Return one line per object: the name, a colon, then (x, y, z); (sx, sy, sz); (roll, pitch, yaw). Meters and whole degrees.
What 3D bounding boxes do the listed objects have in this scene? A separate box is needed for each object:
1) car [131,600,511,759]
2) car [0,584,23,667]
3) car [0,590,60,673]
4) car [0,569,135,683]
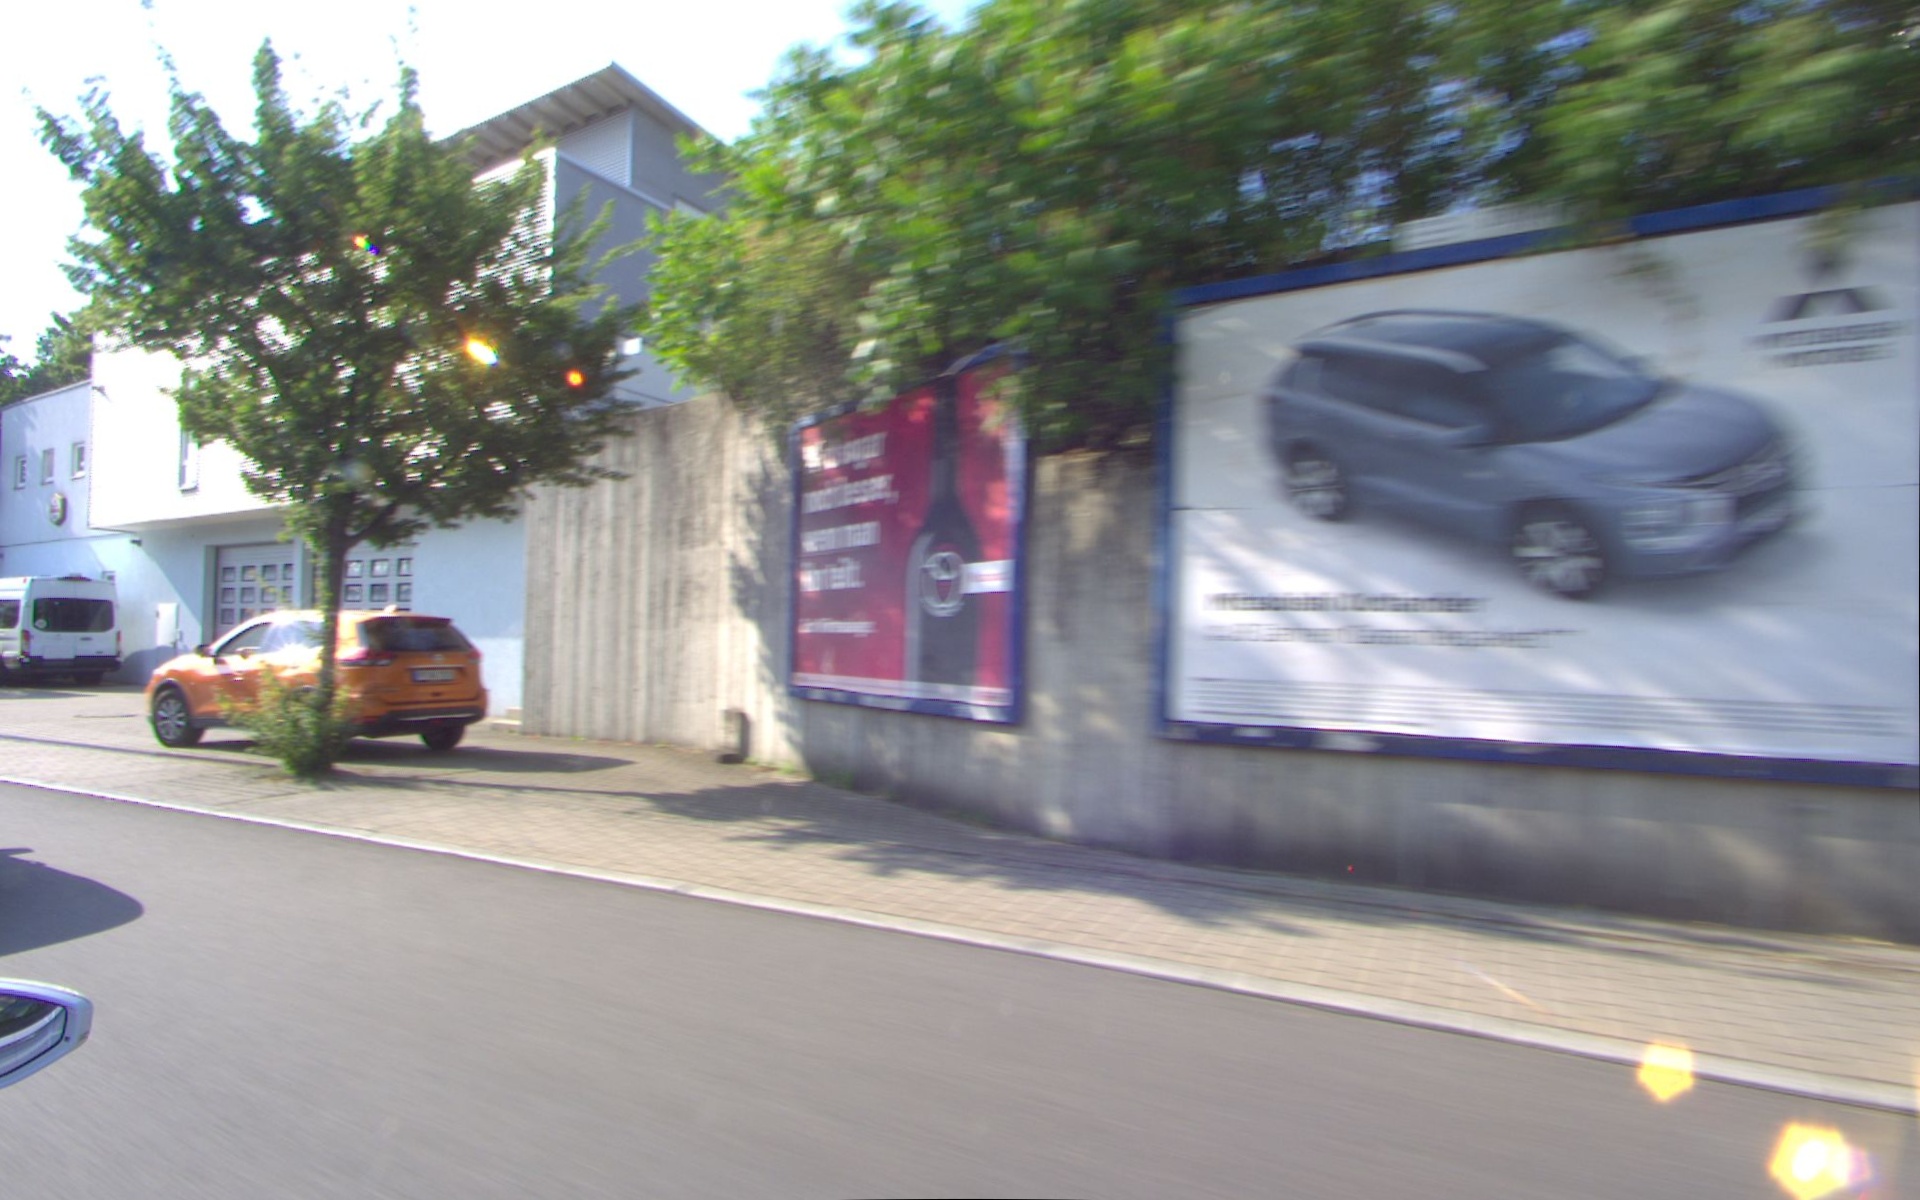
car: (-7.907, 0.877, 12.355); (4.464, 1.670, 1.835); (0, -2, 25)
car: (-31.783, 0.694, 29.297); (2.013, 2.548, 6.038); (1, -2, 30)
car: (-29.305, 0.855, 27.836); (2.013, 2.393, 6.038); (1, -2, 30)
car: (-24.635, 0.648, 26.639); (6.347, 2.757, 2.109); (0, -1, 31)
